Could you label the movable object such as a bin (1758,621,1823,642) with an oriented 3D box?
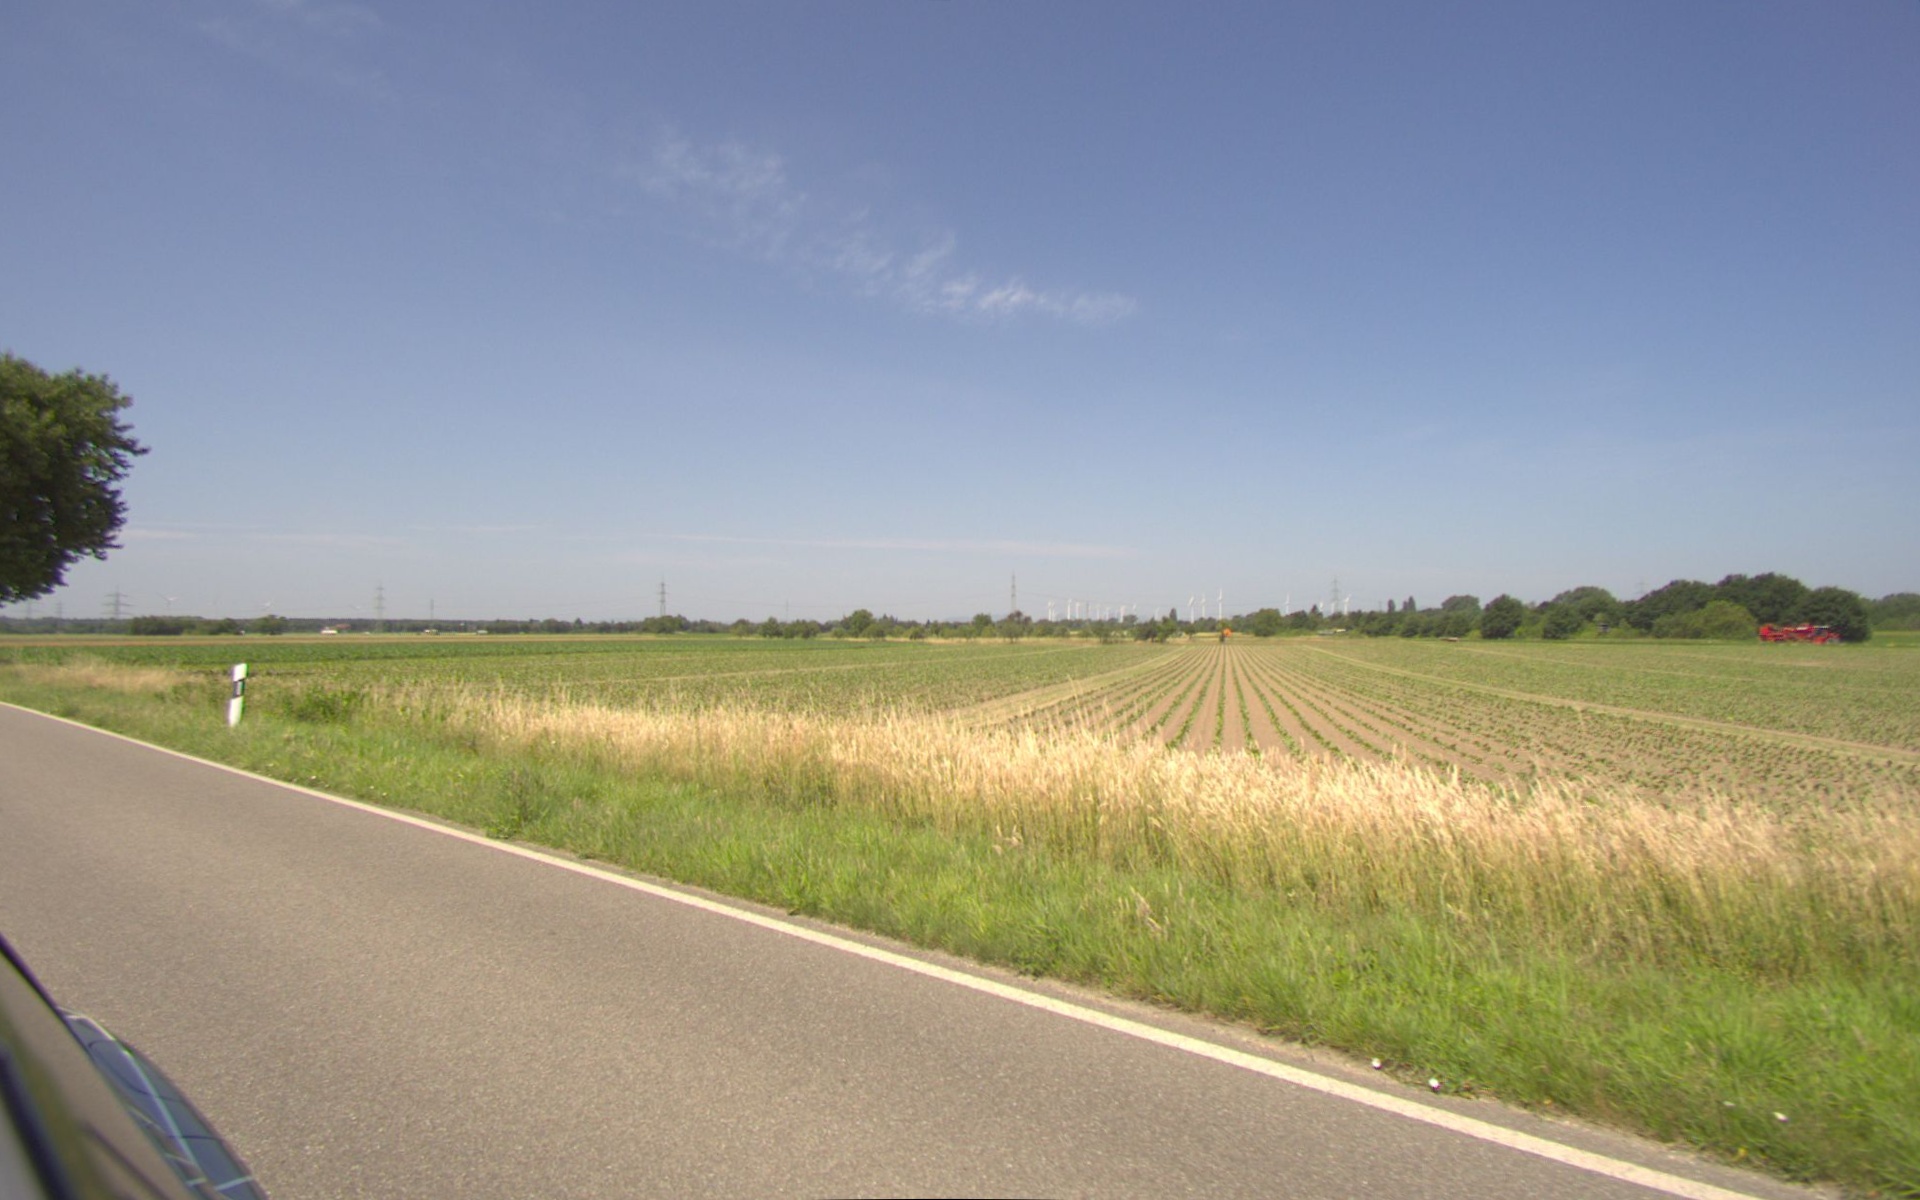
[{"bbox_3d":[156.638,6.053,191.081,2.505,3.878,10.001,1,-3,-11],"label":"movable object such as a bin"}]
